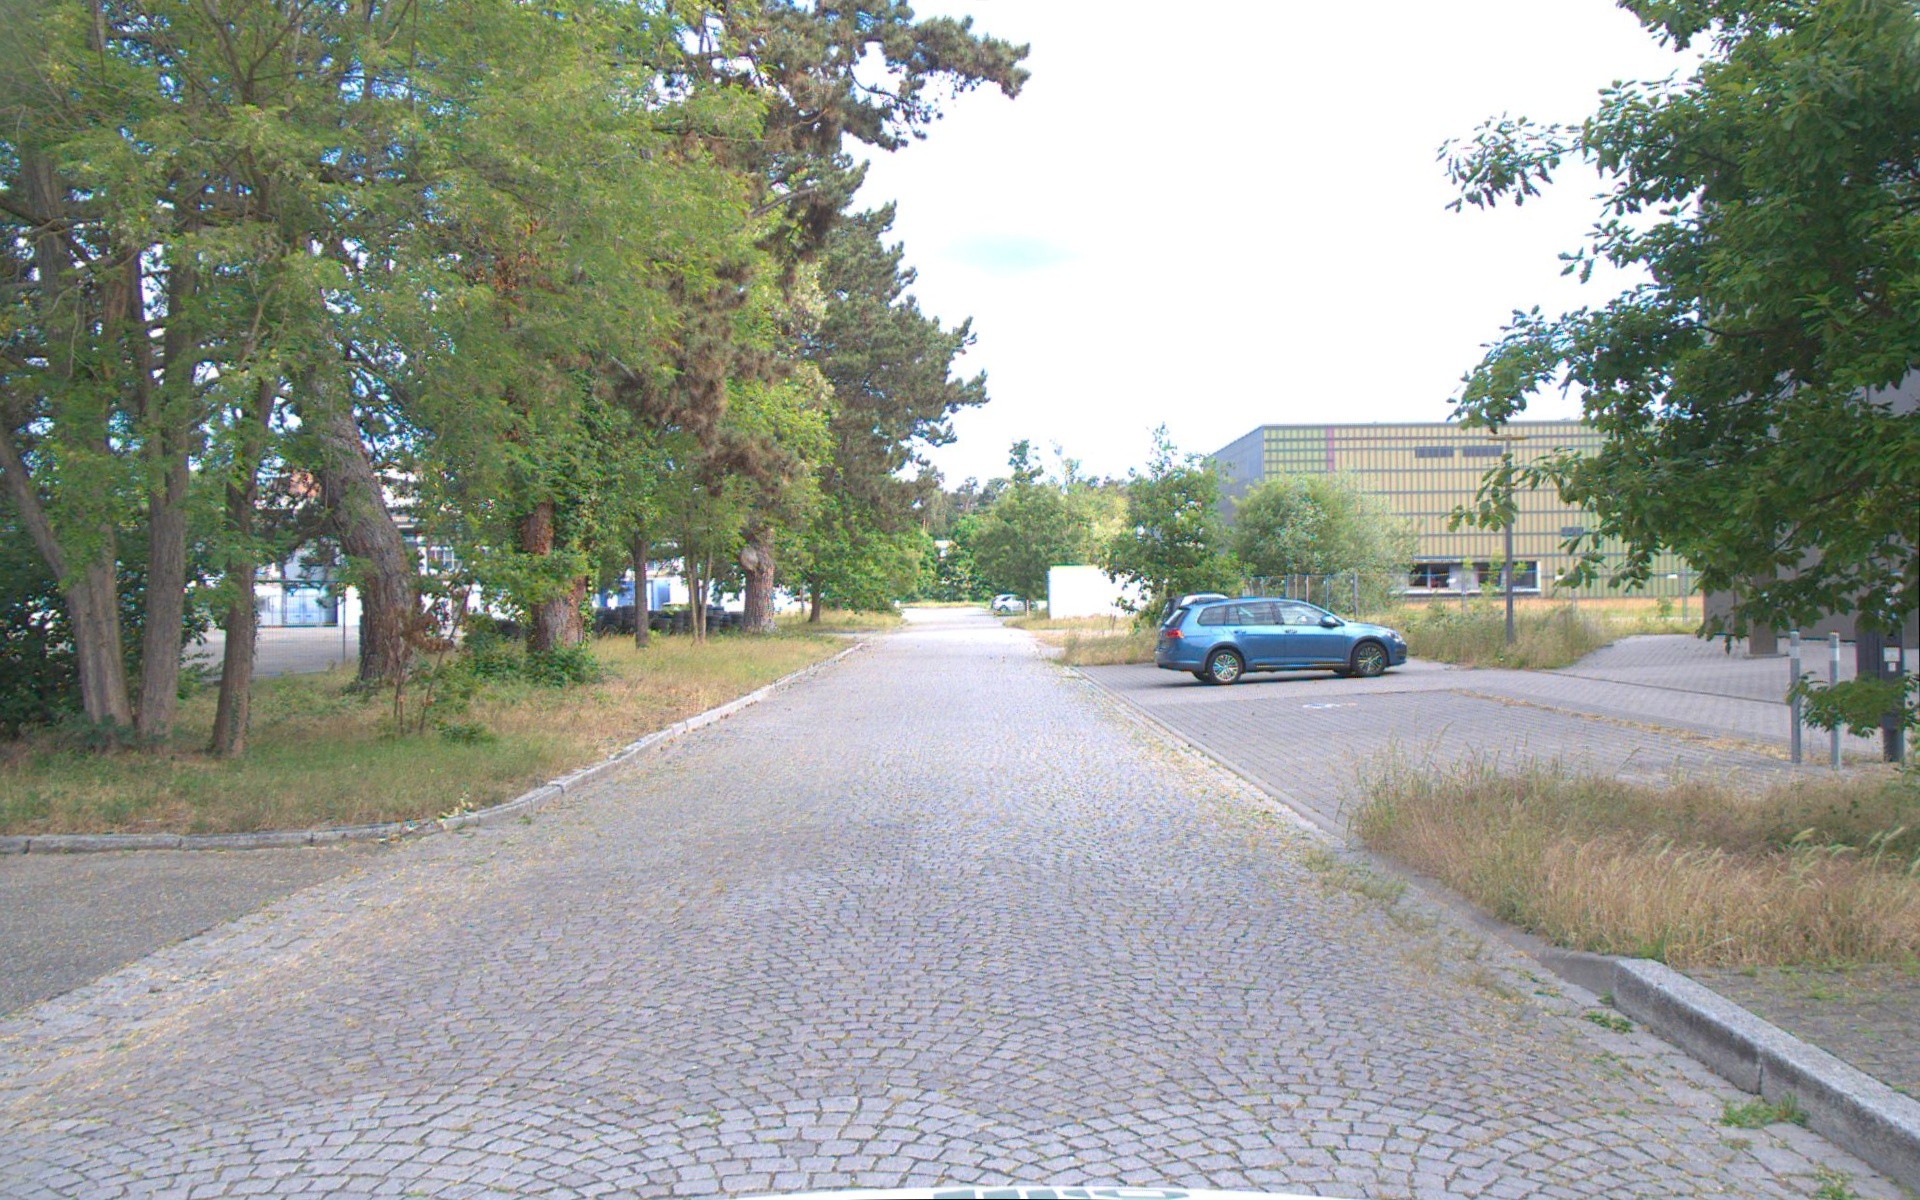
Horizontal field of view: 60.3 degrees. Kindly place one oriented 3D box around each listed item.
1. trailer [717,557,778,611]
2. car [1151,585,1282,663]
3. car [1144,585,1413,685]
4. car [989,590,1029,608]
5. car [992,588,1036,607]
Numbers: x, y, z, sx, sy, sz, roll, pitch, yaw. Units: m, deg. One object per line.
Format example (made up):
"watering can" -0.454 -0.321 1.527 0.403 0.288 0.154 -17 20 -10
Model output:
"trailer" -14.899 -1.098 116.757 2.571 3.661 10.180 -1 0 2
"car" 5.755 0.525 37.325 2.654 1.583 1.654 -3 0 1
"car" 5.686 0.598 29.821 4.401 1.501 1.829 -3 0 -3
"car" 4.340 -0.087 146.952 3.450 1.386 1.622 -3 0 0
"car" 4.863 -0.216 149.648 3.903 1.473 1.653 -3 0 0
